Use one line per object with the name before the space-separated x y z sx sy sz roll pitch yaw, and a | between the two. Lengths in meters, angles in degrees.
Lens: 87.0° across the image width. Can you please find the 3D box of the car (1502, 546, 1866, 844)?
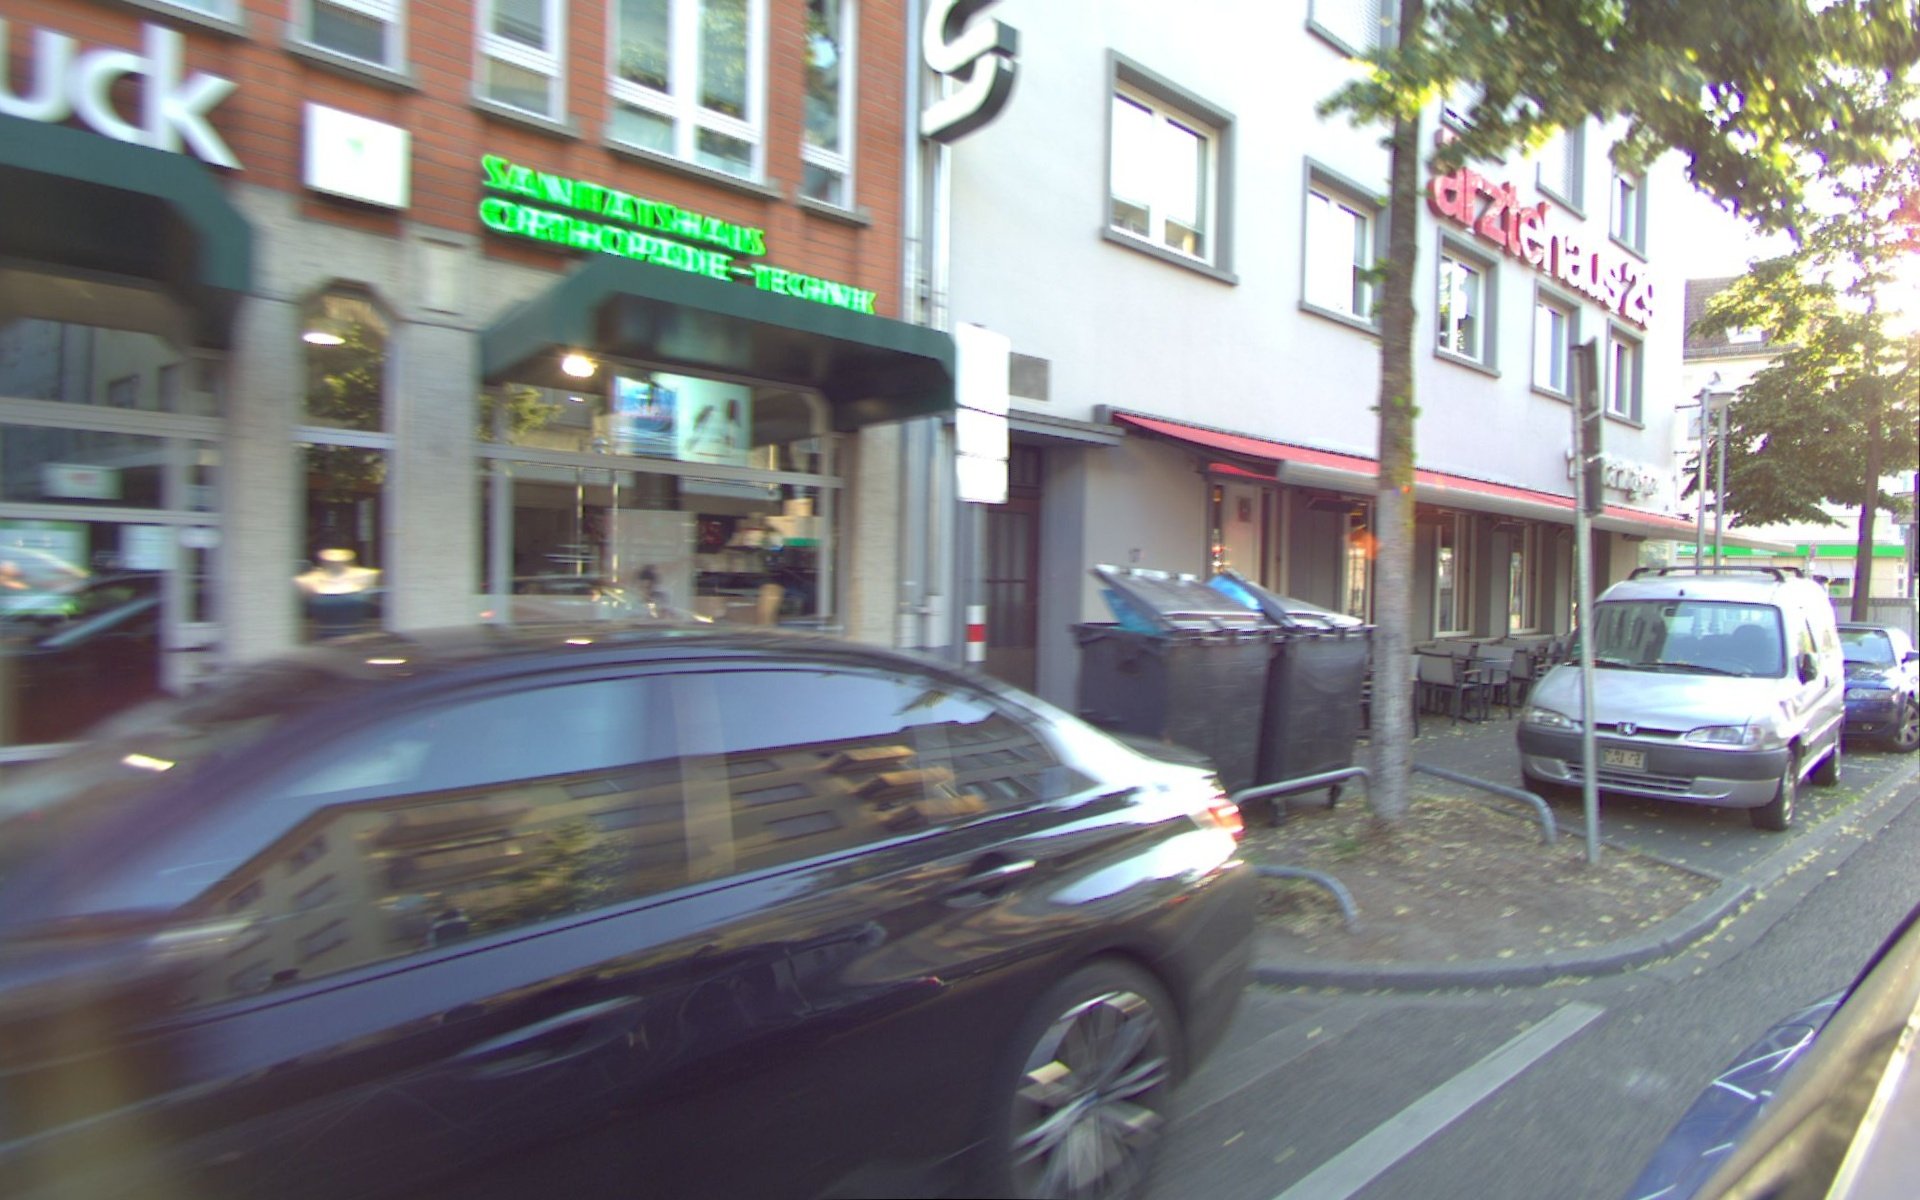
car | 5.919 0.579 8.086 3.944 1.801 1.656 1 0 -43

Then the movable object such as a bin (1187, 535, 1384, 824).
movable object such as a bin | 2.261 0.483 6.992 1.186 1.796 0.835 -1 0 -44

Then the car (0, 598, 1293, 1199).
car | -1.289 0.721 2.029 4.431 1.438 1.755 0 0 -42

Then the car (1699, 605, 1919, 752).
car | 10.374 0.781 11.886 4.110 1.394 1.940 0 0 -42

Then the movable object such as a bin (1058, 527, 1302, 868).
movable object such as a bin | 1.346 0.500 6.096 1.331 1.796 0.835 -1 0 -44
